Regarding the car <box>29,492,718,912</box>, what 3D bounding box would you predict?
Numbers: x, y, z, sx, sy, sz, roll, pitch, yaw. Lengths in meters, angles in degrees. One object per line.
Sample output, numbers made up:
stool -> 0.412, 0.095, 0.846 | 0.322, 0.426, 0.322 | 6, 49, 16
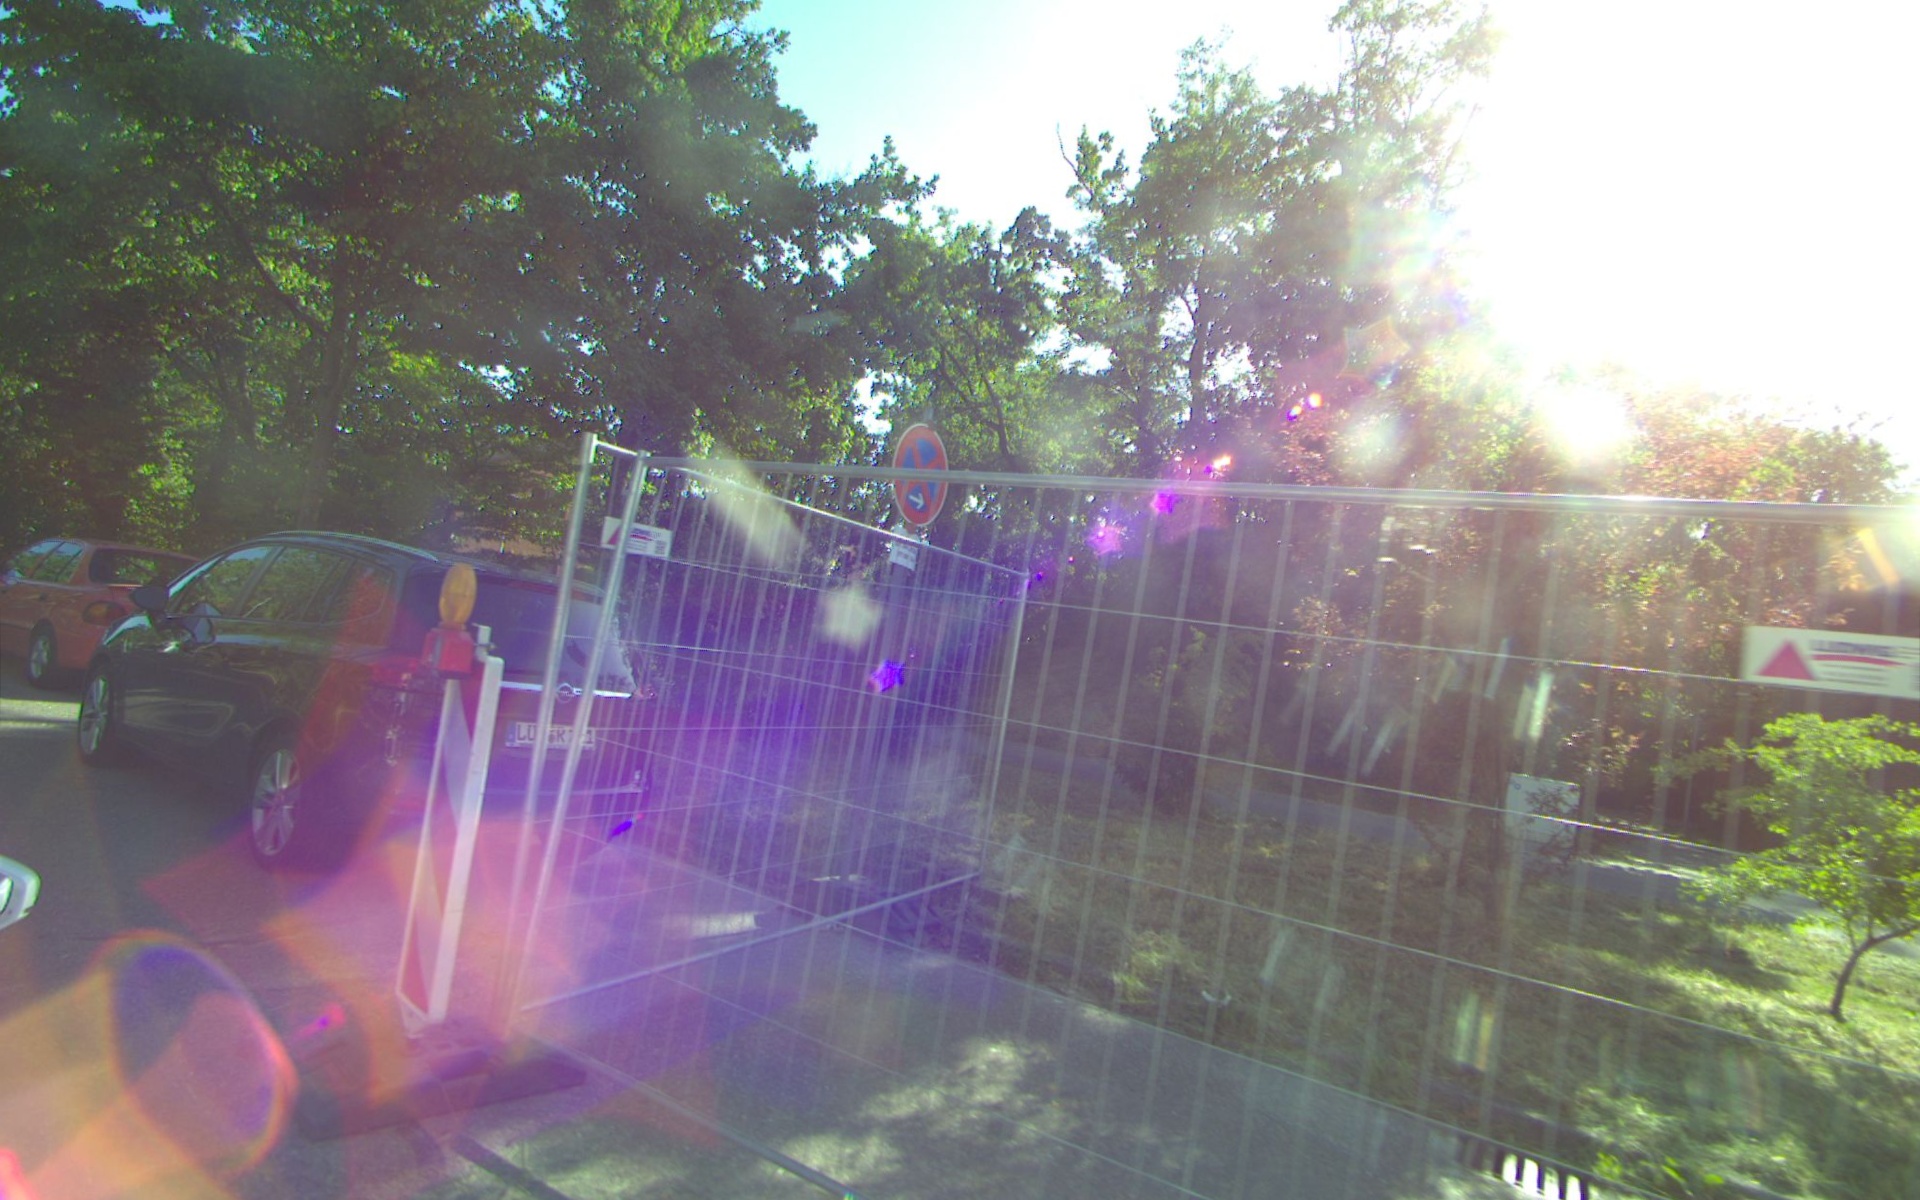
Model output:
car -> -3.799, 0.442, 6.255 | 4.351, 1.667, 1.815 | 6, -5, 35

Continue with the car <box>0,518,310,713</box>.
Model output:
car -> -8.679, 0.071, 10.214 | 4.085, 1.389, 1.668 | 7, -5, 30
